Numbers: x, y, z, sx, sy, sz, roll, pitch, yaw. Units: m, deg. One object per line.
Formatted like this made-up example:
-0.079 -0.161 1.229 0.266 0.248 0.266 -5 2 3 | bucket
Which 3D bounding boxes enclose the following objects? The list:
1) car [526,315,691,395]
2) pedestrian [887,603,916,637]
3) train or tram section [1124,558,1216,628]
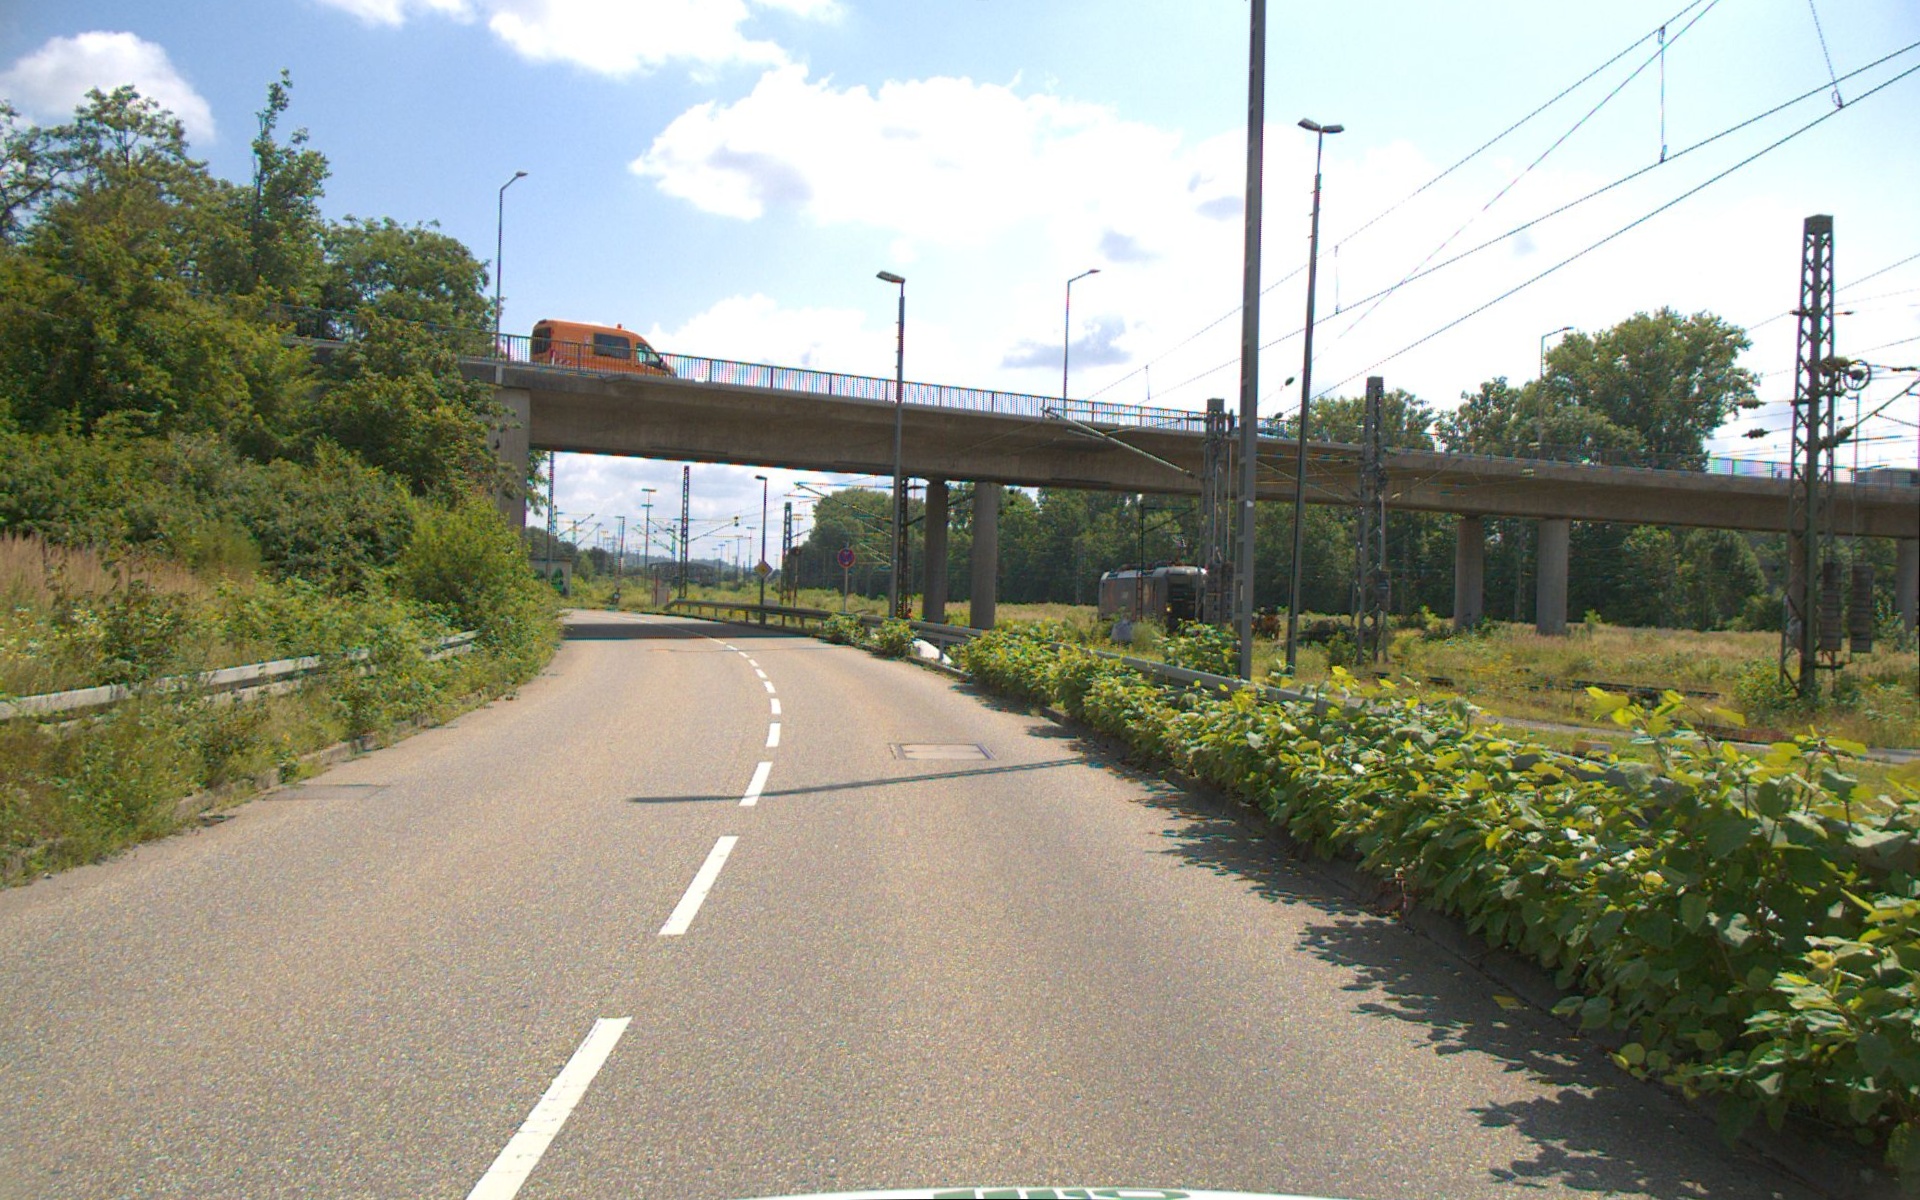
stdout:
-12.192 -8.452 57.551 5.278 2.049 1.974 0 -1 -37 | car
-2.755 0.917 77.464 1.090 1.567 1.575 2 -1 -10 | pedestrian
11.248 -0.327 89.467 2.836 3.570 8.550 1 -1 -7 | train or tram section
